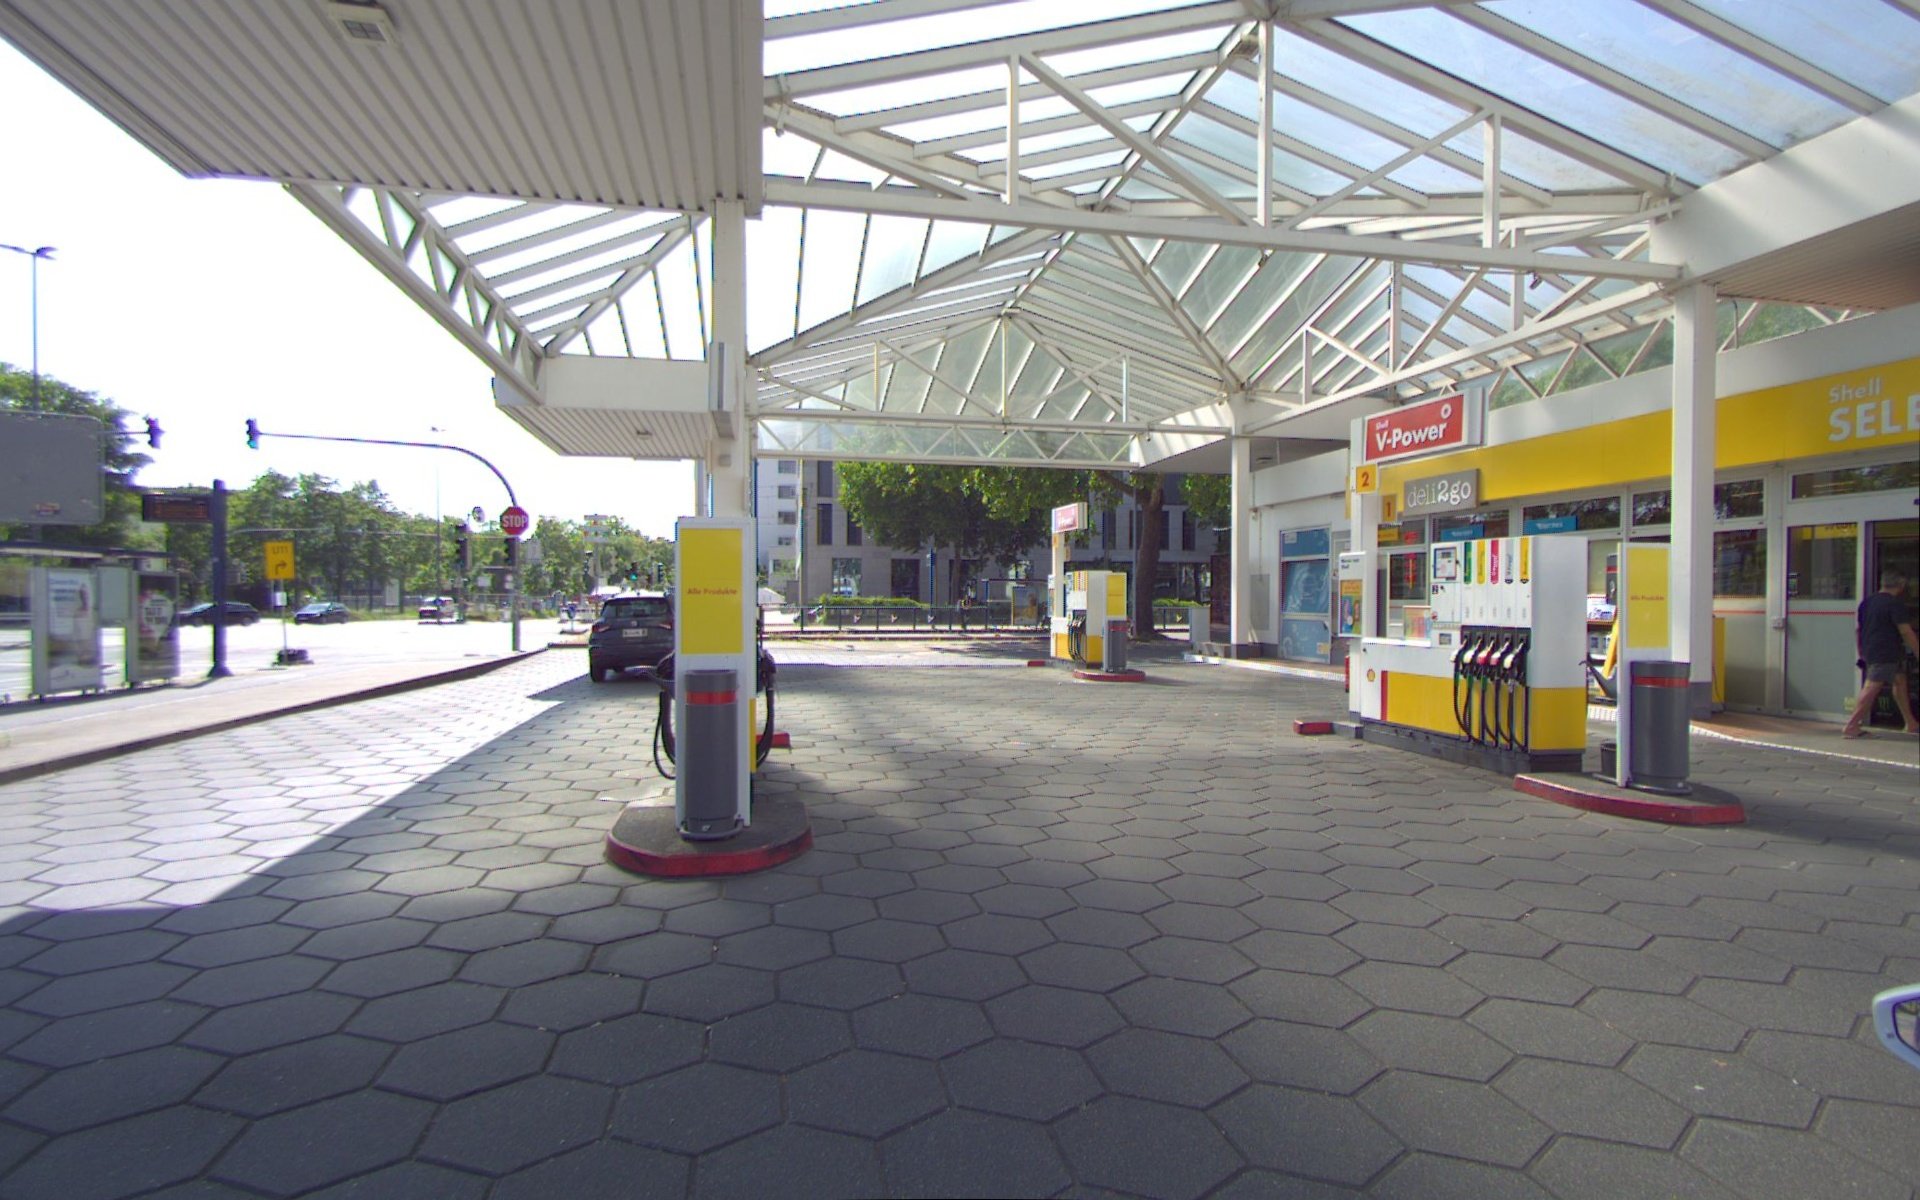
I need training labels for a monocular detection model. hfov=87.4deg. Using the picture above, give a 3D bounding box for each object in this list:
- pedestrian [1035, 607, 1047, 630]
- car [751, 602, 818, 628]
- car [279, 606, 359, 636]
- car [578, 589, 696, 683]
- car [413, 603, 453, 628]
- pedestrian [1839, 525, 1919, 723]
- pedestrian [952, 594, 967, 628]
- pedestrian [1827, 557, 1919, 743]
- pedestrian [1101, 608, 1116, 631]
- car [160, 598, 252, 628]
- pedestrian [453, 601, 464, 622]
[{"bbox_3d":[3.991,0.901,49.685,0.491,1.153,0.523,0,0,-6],"label":"pedestrian"},{"bbox_3d":[-10.964,0.902,62.626,3.936,1.573,1.697,0,0,-18],"label":"car"},{"bbox_3d":[-42.403,1.379,66.594,1.960,1.829,4.212,-2,0,16],"label":"car"},{"bbox_3d":[-6.012,0.632,19.093,1.719,1.552,3.991,-1,0,-12],"label":"car"},{"bbox_3d":[-45.718,1.350,87.192,1.965,2.040,4.436,-2,0,-13],"label":"car"},{"bbox_3d":[10.005,0.250,10.753,0.731,2.040,0.620,0,0,-21],"label":"pedestrian"},{"bbox_3d":[-0.011,0.535,48.618,0.575,1.613,0.668,0,2,-12],"label":"pedestrian"},{"bbox_3d":[9.141,0.483,10.051,0.525,1.785,0.568,0,0,-32],"label":"pedestrian"},{"bbox_3d":[7.466,0.982,50.518,0.618,1.153,0.523,0,0,-6],"label":"pedestrian"},{"bbox_3d":[-43.768,0.744,58.392,3.948,1.727,1.987,0,0,-27],"label":"car"},{"bbox_3d":[-34.498,0.789,69.112,0.556,1.488,0.512,0,0,-16],"label":"pedestrian"}]
